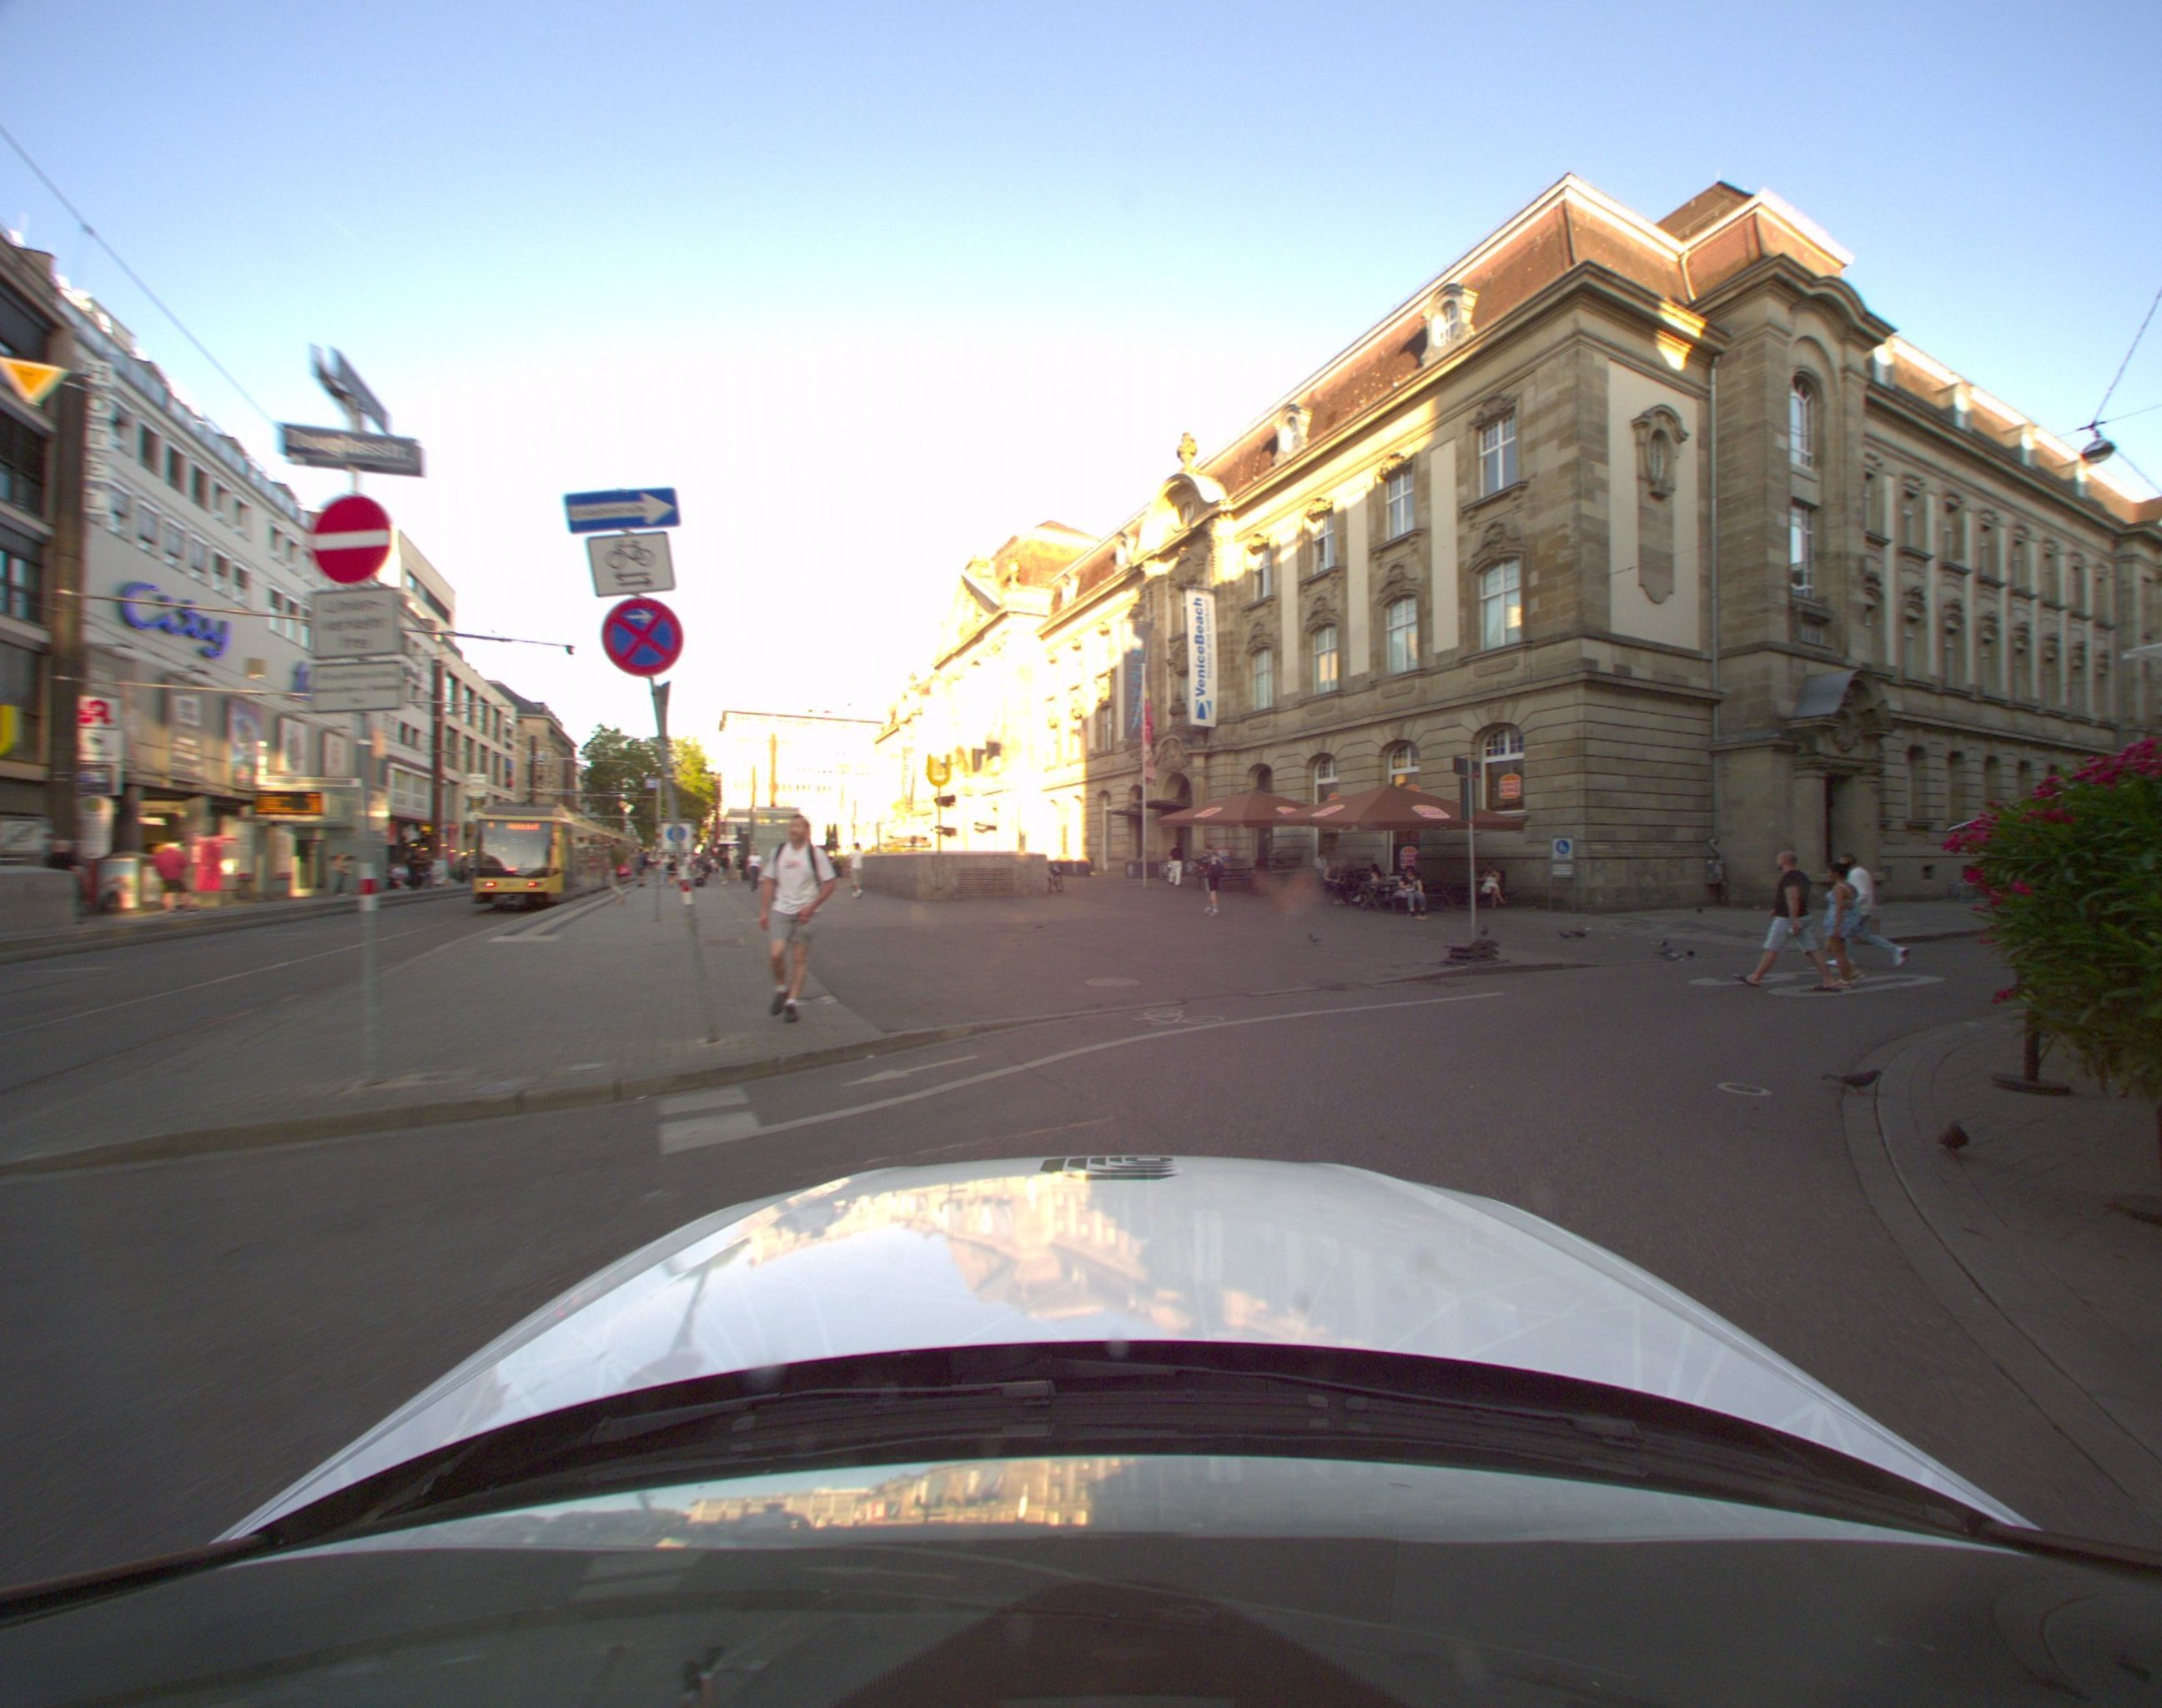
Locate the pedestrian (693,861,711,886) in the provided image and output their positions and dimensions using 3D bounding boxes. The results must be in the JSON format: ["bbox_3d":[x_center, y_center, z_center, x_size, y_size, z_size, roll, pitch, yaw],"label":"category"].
[{"bbox_3d":[-19.332,0.978,41.517,0.797,1.221,0.762,0,-1,-29],"label":"pedestrian"}]

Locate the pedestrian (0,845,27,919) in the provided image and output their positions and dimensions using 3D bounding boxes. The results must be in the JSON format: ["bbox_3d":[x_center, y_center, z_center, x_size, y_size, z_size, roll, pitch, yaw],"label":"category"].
[{"bbox_3d":[-23.516,0.609,17.665,0.598,1.588,0.631,-1,-1,22],"label":"pedestrian"}]

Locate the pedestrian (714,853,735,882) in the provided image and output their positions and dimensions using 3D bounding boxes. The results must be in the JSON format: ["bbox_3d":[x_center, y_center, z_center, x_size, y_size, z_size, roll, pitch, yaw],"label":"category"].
[{"bbox_3d":[-20.635,0.747,47.168,0.785,1.661,0.773,0,-1,24],"label":"pedestrian"}]

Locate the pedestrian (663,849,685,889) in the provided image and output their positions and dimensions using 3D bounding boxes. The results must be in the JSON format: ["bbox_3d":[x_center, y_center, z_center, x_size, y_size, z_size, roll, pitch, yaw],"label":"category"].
[{"bbox_3d":[-18.783,0.699,37.543,0.739,1.823,0.810,0,-1,-40],"label":"pedestrian"}]

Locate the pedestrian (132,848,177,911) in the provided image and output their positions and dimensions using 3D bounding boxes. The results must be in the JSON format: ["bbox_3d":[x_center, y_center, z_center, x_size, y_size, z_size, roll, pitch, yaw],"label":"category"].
[{"bbox_3d":[-23.655,0.639,20.806,0.608,1.588,0.621,0,-2,-35],"label":"pedestrian"}]

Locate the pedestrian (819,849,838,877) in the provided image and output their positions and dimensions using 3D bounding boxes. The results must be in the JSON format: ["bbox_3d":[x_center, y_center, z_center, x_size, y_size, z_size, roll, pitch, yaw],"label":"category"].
[{"bbox_3d":[-16.299,0.585,52.562,0.766,1.823,0.855,0,-1,26],"label":"pedestrian"}]

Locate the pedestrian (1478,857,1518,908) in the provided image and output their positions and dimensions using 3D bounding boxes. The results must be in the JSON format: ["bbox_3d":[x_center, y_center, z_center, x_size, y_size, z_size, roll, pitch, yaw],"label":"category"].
[{"bbox_3d":[11.376,0.761,22.238,0.661,1.308,0.773,0,3,-1],"label":"pedestrian"}]

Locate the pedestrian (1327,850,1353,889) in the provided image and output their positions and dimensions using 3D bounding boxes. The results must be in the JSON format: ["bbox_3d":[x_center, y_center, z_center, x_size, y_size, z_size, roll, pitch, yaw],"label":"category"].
[{"bbox_3d":[8.881,0.522,27.916,0.595,1.308,0.577,1,2,-27],"label":"pedestrian"}]

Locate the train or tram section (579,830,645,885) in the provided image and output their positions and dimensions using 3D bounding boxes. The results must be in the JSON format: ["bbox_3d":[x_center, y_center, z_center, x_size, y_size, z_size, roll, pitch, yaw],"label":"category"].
[{"bbox_3d":[-32.262,0.251,56.484,2.814,3.319,14.386,0,0,-25],"label":"train or tram section"}]

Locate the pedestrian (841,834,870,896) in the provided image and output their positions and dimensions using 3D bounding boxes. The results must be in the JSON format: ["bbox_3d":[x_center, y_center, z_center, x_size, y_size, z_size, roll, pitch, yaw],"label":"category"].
[{"bbox_3d":[-7.376,0.367,26.707,0.769,2.014,0.915,0,-1,-8],"label":"pedestrian"}]

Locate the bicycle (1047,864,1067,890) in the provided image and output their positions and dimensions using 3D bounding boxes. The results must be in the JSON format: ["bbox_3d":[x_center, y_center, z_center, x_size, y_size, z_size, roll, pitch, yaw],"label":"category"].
[{"bbox_3d":[-0.829,0.789,27.897,0.317,0.867,0.991,-1,0,-26],"label":"bicycle"}]

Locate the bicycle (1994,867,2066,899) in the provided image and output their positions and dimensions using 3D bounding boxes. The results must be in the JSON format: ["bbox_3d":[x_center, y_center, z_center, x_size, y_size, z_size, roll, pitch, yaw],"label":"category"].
[{"bbox_3d":[34.132,1.024,29.325,0.490,1.041,1.665,0,1,-42],"label":"bicycle"}]

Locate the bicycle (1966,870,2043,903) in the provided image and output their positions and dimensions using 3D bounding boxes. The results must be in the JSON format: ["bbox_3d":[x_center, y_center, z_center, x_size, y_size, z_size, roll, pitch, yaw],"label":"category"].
[{"bbox_3d":[31.699,1.091,27.987,0.487,1.041,1.674,0,1,-20],"label":"bicycle"}]

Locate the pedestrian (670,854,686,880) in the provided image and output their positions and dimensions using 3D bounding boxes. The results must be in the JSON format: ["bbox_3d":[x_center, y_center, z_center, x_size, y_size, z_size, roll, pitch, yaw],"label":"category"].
[{"bbox_3d":[-26.033,0.810,52.588,0.793,1.661,0.766,0,-1,-14],"label":"pedestrian"}]

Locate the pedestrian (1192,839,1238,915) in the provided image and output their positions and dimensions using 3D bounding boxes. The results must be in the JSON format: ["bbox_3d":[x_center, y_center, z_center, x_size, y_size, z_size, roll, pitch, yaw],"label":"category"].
[{"bbox_3d":[3.270,0.542,19.940,0.811,1.823,0.800,0,0,-21],"label":"pedestrian"}]

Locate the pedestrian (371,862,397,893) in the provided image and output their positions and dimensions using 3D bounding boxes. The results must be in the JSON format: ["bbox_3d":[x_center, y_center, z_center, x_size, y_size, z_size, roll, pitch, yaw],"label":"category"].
[{"bbox_3d":[-30.885,1.035,36.088,0.711,1.379,0.714,0,-1,-27],"label":"pedestrian"}]

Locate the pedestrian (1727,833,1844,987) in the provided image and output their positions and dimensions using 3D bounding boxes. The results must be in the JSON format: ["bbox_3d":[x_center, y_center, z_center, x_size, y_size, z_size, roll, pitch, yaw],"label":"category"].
[{"bbox_3d":[8.875,0.678,10.270,0.807,1.840,0.867,2,-1,-26],"label":"pedestrian"}]

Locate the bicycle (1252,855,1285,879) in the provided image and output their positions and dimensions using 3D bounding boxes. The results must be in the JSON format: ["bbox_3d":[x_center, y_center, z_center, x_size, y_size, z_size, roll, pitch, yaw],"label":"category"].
[{"bbox_3d":[7.313,0.513,31.718,1.326,0.894,0.406,-1,1,-30],"label":"bicycle"}]

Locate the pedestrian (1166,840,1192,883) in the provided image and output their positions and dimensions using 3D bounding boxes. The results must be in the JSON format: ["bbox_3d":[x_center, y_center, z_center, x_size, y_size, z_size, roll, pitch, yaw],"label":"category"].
[{"bbox_3d":[3.609,0.271,30.012,0.845,1.565,0.849,0,1,-3],"label":"pedestrian"}]

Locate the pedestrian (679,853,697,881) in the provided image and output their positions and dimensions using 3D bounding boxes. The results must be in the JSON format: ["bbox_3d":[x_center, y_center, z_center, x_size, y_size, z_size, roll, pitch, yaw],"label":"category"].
[{"bbox_3d":[-23.434,0.758,48.566,0.793,1.661,0.766,0,-1,-14],"label":"pedestrian"}]

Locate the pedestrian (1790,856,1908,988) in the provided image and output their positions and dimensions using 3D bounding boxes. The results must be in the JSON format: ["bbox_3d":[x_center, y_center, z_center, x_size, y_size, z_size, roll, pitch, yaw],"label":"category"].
[{"bbox_3d":[9.785,0.831,10.393,0.807,1.581,0.867,2,-1,-26],"label":"pedestrian"}]

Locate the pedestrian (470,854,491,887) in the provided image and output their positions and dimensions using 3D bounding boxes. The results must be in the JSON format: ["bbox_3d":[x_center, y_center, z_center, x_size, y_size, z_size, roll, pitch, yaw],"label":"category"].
[{"bbox_3d":[-32.346,0.887,43.846,0.777,1.725,0.703,0,-1,-26],"label":"pedestrian"}]

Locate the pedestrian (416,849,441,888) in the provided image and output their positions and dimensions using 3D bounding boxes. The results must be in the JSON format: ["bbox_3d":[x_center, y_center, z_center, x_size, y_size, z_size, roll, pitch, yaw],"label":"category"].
[{"bbox_3d":[-29.590,0.658,36.941,0.765,1.725,0.714,-2,-2,36],"label":"pedestrian"}]

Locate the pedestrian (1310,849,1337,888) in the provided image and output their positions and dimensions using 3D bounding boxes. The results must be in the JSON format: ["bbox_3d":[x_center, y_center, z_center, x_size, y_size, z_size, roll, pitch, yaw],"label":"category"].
[{"bbox_3d":[8.251,0.485,27.708,0.595,1.308,0.576,1,2,-30],"label":"pedestrian"}]

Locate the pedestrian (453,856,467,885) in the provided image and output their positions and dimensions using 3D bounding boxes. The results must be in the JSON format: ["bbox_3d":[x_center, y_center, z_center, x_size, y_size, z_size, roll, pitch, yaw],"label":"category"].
[{"bbox_3d":[-36.527,0.969,47.925,0.605,1.727,0.602,0,-2,-32],"label":"pedestrian"}]

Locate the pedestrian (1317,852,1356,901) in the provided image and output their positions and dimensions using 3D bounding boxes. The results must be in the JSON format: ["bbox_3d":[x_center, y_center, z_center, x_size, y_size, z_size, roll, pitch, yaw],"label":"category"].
[{"bbox_3d":[7.341,0.641,23.389,0.805,1.383,0.650,1,1,-15],"label":"pedestrian"}]

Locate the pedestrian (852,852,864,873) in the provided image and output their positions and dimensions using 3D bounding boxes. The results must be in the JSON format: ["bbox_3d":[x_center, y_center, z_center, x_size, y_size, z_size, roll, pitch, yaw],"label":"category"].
[{"bbox_3d":[-18.939,0.722,69.096,0.777,1.825,0.842,0,-1,-28],"label":"pedestrian"}]

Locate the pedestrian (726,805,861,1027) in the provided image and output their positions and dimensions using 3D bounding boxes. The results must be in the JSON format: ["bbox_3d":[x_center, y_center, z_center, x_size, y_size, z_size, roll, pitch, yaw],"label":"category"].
[{"bbox_3d":[-2.584,0.526,7.467,1.014,1.863,1.038,1,-1,-13],"label":"pedestrian"}]

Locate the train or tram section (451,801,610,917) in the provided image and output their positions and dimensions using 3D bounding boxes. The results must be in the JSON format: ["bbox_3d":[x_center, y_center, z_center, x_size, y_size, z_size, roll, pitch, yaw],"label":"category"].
[{"bbox_3d":[-19.932,0.160,30.525,2.814,3.319,14.386,0,0,-25],"label":"train or tram section"}]

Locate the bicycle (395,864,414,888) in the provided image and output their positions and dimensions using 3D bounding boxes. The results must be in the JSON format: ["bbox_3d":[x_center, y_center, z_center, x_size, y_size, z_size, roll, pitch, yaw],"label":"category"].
[{"bbox_3d":[-33.027,1.064,39.762,1.597,1.142,0.437,0,0,40],"label":"bicycle"}]

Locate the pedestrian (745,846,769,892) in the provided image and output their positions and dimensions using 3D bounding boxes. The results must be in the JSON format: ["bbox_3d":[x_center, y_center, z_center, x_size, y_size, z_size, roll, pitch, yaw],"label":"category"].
[{"bbox_3d":[-13.124,0.592,32.995,0.777,1.823,0.931,-1,0,-29],"label":"pedestrian"}]

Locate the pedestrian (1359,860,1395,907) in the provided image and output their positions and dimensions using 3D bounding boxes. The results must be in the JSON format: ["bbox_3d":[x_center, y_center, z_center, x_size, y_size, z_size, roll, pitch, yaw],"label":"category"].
[{"bbox_3d":[8.117,0.794,22.341,0.615,1.226,0.698,1,1,-11],"label":"pedestrian"}]

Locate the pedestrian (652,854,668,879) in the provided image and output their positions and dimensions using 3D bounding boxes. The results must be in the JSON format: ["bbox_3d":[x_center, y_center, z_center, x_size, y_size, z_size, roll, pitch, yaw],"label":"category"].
[{"bbox_3d":[-28.162,0.835,54.459,0.768,1.661,0.791,0,-1,-14],"label":"pedestrian"}]

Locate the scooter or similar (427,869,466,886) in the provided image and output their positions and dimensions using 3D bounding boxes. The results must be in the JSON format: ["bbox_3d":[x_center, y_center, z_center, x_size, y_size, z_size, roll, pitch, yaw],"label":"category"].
[{"bbox_3d":[-32.312,1.189,41.509,0.553,0.831,1.531,-1,-1,14],"label":"scooter or similar"}]

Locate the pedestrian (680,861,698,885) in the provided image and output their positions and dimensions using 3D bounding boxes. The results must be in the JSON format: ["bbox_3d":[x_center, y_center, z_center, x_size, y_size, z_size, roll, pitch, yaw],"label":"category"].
[{"bbox_3d":[-20.217,0.982,41.977,0.797,1.221,0.762,0,-1,-29],"label":"pedestrian"}]

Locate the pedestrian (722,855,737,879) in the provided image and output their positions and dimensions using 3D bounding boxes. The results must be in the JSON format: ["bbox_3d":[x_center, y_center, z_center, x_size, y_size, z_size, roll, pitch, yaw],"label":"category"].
[{"bbox_3d":[-24.452,0.880,56.655,0.793,1.661,0.766,0,-1,-14],"label":"pedestrian"}]

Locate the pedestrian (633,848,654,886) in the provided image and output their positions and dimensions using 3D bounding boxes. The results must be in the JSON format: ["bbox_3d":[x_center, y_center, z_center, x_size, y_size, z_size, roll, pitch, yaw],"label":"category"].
[{"bbox_3d":[-21.154,0.631,39.404,0.739,1.823,0.810,0,-1,-40],"label":"pedestrian"}]

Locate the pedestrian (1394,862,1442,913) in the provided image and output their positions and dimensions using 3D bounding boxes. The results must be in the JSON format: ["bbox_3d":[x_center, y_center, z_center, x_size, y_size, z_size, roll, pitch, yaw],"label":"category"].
[{"bbox_3d":[8.641,0.843,20.896,0.779,1.242,0.825,1,1,-12],"label":"pedestrian"}]

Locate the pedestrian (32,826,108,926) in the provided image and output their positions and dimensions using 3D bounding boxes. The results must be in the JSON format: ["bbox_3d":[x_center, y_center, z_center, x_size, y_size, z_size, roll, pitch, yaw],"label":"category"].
[{"bbox_3d":[-20.068,0.432,16.181,0.718,1.925,0.702,0,-1,-30],"label":"pedestrian"}]

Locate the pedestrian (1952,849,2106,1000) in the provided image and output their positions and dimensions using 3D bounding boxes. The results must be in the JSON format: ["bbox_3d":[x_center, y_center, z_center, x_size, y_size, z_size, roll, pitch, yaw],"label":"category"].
[{"bbox_3d":[10.852,0.779,9.357,0.729,1.646,0.870,1,-2,-6],"label":"pedestrian"}]

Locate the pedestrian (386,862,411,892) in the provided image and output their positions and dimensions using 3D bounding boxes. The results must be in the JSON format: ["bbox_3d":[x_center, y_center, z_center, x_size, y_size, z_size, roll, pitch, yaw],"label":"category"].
[{"bbox_3d":[-31.817,1.061,37.974,0.711,1.379,0.714,0,-1,-27],"label":"pedestrian"}]

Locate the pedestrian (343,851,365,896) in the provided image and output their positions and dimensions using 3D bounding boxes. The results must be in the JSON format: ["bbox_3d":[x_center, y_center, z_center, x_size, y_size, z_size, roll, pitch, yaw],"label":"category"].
[{"bbox_3d":[-26.648,0.715,29.853,0.515,1.617,0.500,0,-2,-34],"label":"pedestrian"}]

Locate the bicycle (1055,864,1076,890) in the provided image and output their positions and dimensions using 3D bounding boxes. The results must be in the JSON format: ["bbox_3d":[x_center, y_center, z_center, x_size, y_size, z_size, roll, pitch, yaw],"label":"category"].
[{"bbox_3d":[-0.534,0.793,28.042,0.317,0.867,0.991,-1,0,-26],"label":"bicycle"}]

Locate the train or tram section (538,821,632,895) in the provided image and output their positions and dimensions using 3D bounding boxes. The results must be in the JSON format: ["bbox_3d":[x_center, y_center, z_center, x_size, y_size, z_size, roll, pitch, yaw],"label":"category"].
[{"bbox_3d":[-26.100,0.206,43.518,2.814,3.319,14.386,0,0,-25],"label":"train or tram section"}]

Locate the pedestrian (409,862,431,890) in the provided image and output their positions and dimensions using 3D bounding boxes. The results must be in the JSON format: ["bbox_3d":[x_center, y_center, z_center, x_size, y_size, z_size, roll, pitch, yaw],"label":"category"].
[{"bbox_3d":[-33.200,1.101,40.904,0.711,1.379,0.714,0,-1,-27],"label":"pedestrian"}]

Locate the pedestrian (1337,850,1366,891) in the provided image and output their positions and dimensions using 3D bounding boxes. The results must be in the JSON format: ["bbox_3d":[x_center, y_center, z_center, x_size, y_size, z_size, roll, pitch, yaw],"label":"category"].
[{"bbox_3d":[8.870,0.540,26.706,0.611,1.308,0.603,1,2,-30],"label":"pedestrian"}]

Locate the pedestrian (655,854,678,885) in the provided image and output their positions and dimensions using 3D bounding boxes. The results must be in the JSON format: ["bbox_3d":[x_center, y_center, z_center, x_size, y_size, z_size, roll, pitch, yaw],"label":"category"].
[{"bbox_3d":[-21.481,0.809,42.214,0.763,1.579,0.796,0,0,4],"label":"pedestrian"}]

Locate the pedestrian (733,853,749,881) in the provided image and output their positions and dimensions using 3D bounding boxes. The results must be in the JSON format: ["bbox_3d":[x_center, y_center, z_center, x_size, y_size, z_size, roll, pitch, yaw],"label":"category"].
[{"bbox_3d":[-20.839,0.790,49.969,0.793,1.661,0.766,0,-1,-14],"label":"pedestrian"}]

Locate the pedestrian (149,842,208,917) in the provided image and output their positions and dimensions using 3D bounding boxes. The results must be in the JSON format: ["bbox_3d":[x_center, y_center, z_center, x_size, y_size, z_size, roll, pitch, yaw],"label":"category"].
[{"bbox_3d":[-21.041,0.594,19.003,0.718,1.698,0.778,0,-1,-31],"label":"pedestrian"}]

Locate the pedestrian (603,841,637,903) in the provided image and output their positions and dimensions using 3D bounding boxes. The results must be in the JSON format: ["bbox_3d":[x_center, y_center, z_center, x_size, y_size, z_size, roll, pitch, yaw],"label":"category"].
[{"bbox_3d":[-13.183,0.513,23.290,0.724,1.725,0.701,0,-2,-43],"label":"pedestrian"}]

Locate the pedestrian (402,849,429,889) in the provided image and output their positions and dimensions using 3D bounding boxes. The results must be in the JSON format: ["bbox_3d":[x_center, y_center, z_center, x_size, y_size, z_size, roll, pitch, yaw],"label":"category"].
[{"bbox_3d":[-28.845,0.658,35.309,0.765,1.725,0.714,-2,-2,34],"label":"pedestrian"}]

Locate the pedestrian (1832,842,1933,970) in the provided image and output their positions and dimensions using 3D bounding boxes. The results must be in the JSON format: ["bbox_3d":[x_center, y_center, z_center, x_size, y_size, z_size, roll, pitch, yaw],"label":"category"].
[{"bbox_3d":[12.236,0.747,12.448,0.870,1.839,0.866,0,2,-31],"label":"pedestrian"}]
